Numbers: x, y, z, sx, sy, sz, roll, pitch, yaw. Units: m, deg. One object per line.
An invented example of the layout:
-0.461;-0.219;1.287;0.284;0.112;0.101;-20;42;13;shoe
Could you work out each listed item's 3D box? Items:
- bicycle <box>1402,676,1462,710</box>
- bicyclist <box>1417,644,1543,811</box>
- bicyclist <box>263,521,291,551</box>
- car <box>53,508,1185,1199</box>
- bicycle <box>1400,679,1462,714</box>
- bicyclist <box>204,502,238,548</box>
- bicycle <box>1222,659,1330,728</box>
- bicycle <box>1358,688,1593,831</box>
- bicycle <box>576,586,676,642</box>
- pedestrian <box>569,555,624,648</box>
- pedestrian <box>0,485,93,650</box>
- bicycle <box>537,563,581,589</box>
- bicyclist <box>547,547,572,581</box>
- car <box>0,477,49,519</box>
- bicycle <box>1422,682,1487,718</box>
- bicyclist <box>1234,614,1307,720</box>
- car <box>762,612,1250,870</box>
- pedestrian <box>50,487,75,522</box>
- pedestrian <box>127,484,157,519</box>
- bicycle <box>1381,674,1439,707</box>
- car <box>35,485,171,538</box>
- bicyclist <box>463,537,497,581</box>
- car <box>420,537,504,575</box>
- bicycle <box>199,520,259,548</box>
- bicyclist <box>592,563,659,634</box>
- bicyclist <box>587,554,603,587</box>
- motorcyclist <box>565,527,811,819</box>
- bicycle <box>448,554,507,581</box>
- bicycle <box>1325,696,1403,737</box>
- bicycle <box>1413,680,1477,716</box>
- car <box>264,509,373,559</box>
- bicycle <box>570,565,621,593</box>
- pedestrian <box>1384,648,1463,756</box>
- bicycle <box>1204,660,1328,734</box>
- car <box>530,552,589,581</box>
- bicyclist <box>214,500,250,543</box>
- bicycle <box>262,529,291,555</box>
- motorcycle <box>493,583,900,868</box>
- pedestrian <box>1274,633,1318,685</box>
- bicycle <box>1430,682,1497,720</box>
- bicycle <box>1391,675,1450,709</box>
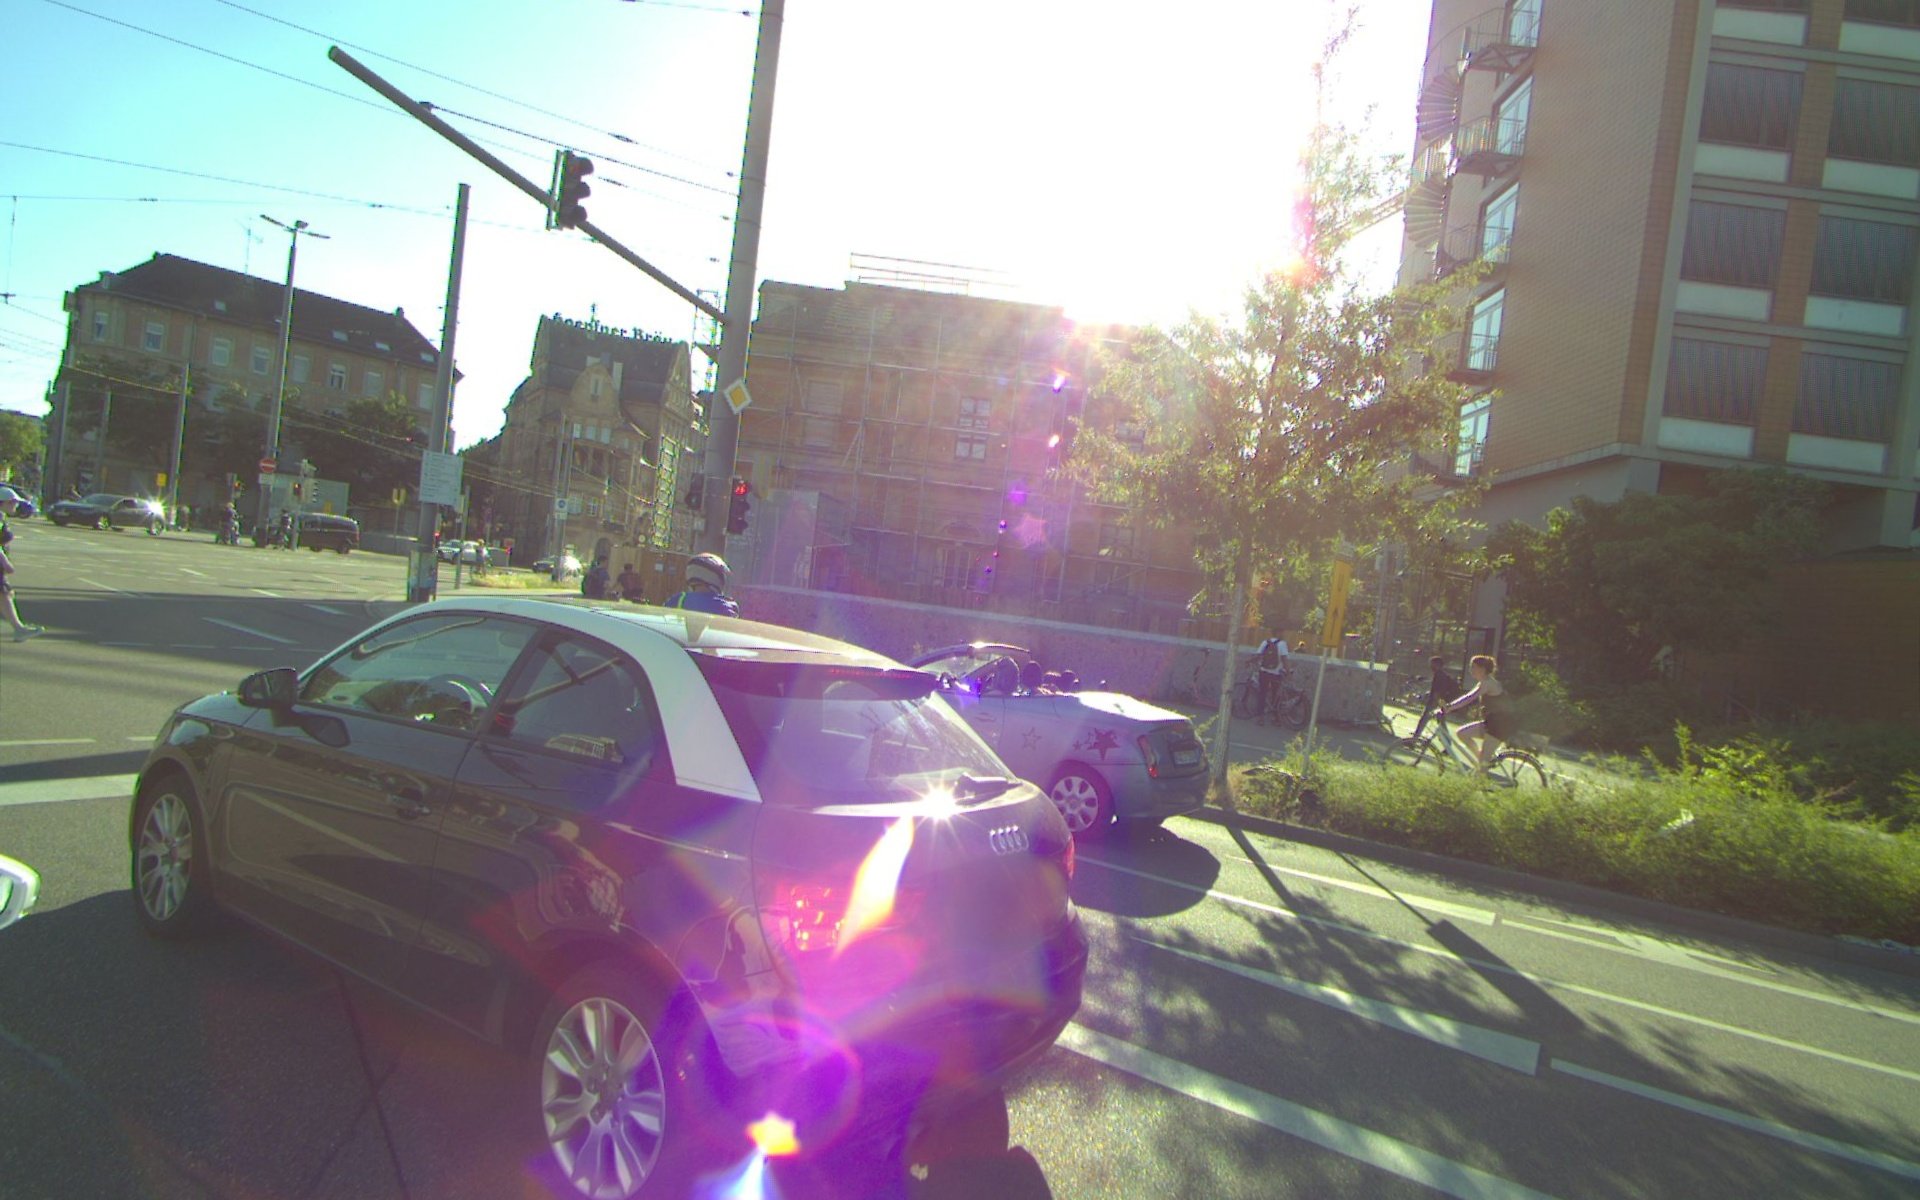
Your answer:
15.391;3.031;32.830;1.623;0.868;0.529;7;1;2;bicycle
6.014;1.428;11.625;1.075;1.700;0.778;7;4;31;bicyclist
-30.541;-2.870;44.995;0.854;1.191;0.707;8;1;-39;bicyclist
-1.424;0.646;3.741;3.913;1.461;1.804;7;-1;32;car
14.901;3.037;31.841;1.623;0.868;0.529;7;1;2;bicycle
-31.439;-3.192;42.802;0.851;1.800;0.584;7;1;-3;bicyclist
6.008;1.764;19.247;0.621;1.052;1.946;4;1;-32;bicycle
5.934;1.788;11.671;2.253;1.172;0.778;7;3;31;bicycle
-7.191;0.283;21.593;2.213;0.963;0.721;5;-1;33;bicycle
-7.022;0.023;19.476;0.686;1.693;0.827;6;2;-6;pedestrian
-9.856;-0.355;10.338;0.686;1.626;1.096;9;1;22;pedestrian
-22.099;-1.295;55.496;0.844;1.147;2.503;9;0;15;bicycle
-22.033;-1.984;55.328;0.844;1.711;0.651;9;1;15;bicyclist
-42.992;-4.673;43.776;4.571;1.613;1.937;7;0;-33;car
15.058;3.036;30.629;1.623;0.868;0.529;7;1;2;bicycle
5.647;1.209;18.295;0.881;1.810;0.785;7;2;41;bicyclist
0.329;1.119;9.093;3.914;1.461;1.803;7;-1;34;car
-46.469;-4.941;52.085;0.547;1.674;0.640;7;1;-5;pedestrian
-43.353;-5.212;53.302;0.770;1.697;0.925;7;1;32;pedestrian
15.284;3.071;34.206;1.623;0.868;0.529;7;1;2;bicycle
-34.078;-3.484;40.168;1.918;1.504;4.100;7;0;-3;car
-20.458;-1.743;42.874;0.844;1.711;0.748;9;1;11;bicyclist
-30.970;-2.706;62.775;1.916;1.821;4.853;7;0;13;car
-31.518;-2.836;43.424;0.845;0.916;2.302;9;0;-3;bicycle
-7.188;-0.032;21.614;1.058;1.401;0.720;6;-1;32;bicyclist
-20.039;-1.625;55.242;0.642;1.711;0.856;8;1;-20;bicyclist
-1.824;0.474;6.839;0.921;1.742;1.097;7;-1;34;motorcyclist
-20.523;-1.366;42.884;0.844;0.885;2.503;9;0;11;bicycle
7.833;2.251;19.535;1.332;0.547;0.430;8;2;19;bicycle
15.041;3.038;31.212;1.623;0.868;0.529;7;1;2;bicycle
-32.782;-3.350;51.615;1.916;1.916;4.852;7;0;7;car
-20.030;-1.168;55.289;2.468;1.147;0.855;9;0;-22;bicycle
7.894;1.737;17.143;0.803;1.677;0.781;9;-2;-41;pedestrian
5.564;1.741;18.350;1.935;1.052;0.787;6;2;41;bicycle
-29.414;-2.451;74.067;1.915;1.582;4.360;9;0;9;car
-31.435;-3.377;43.457;0.845;1.711;0.651;9;1;-3;bicyclist
-30.569;-2.617;44.995;0.853;0.916;2.279;9;0;-37;bicycle
-1.846;0.740;6.831;2.610;1.394;1.097;6;-1;34;motorcycle
14.147;2.481;42.335;1.288;2.039;0.985;6;1;-38;pedestrian
15.041;3.018;30.068;1.623;0.868;0.529;7;1;2;bicycle
15.337;3.062;33.547;1.623;0.868;0.529;7;1;2;bicycle
